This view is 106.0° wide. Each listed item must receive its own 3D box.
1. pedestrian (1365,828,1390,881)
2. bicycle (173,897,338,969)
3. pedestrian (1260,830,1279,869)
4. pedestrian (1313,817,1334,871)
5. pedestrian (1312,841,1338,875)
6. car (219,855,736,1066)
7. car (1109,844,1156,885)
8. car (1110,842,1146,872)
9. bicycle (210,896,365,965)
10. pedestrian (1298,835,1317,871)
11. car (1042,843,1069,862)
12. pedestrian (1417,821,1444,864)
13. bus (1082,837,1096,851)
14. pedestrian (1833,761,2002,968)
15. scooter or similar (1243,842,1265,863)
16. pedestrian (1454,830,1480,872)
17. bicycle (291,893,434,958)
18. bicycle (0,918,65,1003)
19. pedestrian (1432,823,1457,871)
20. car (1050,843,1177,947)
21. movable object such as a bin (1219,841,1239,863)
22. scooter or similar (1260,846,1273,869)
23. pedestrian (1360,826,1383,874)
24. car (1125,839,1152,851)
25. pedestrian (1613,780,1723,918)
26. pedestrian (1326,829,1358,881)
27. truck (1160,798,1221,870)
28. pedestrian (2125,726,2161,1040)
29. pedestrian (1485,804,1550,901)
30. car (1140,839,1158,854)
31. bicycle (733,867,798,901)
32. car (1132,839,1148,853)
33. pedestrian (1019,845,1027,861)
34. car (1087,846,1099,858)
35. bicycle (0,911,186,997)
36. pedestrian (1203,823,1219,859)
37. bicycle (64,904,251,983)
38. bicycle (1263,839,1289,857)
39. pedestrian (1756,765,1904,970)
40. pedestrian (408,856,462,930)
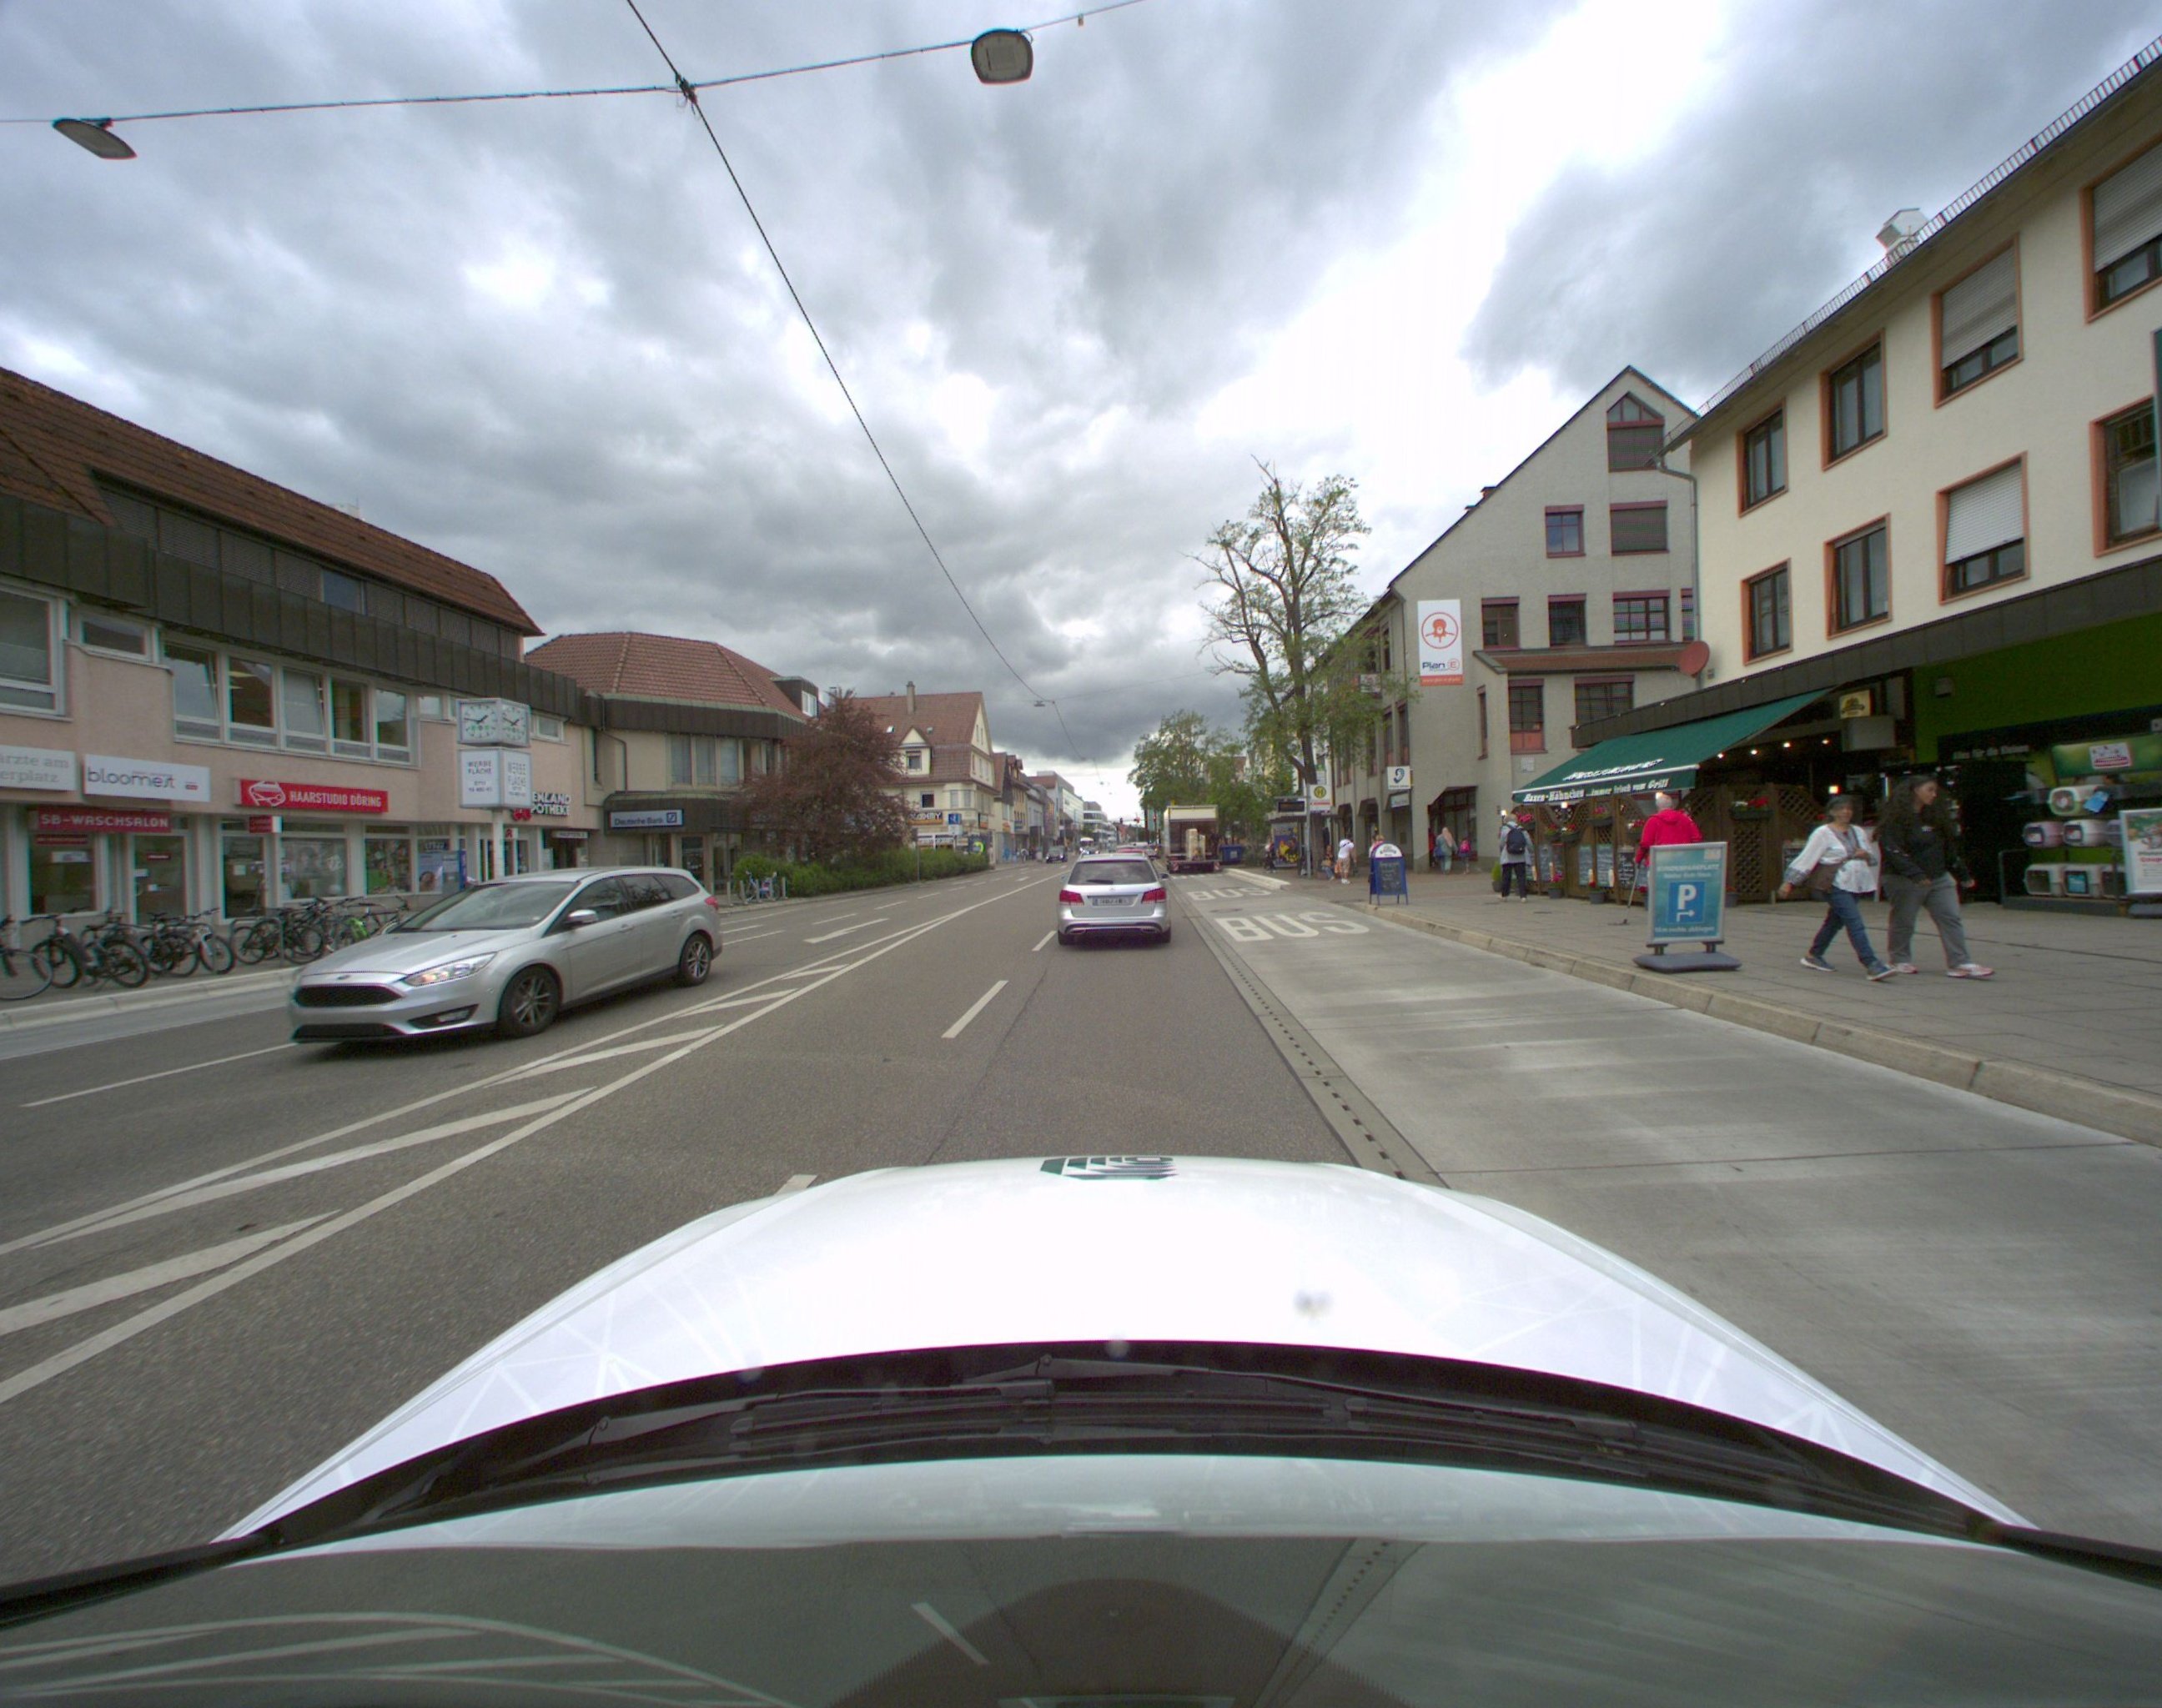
[{"bbox_3d":[8.990,0.015,24.661,0.666,1.567,0.495,0,2,24],"label":"pedestrian"},{"bbox_3d":[-14.348,1.363,14.196,2.015,1.090,0.648,-2,0,-6],"label":"bicycle"},{"bbox_3d":[8.116,-0.200,35.111,0.536,1.634,0.584,0,1,-21],"label":"pedestrian"},{"bbox_3d":[9.359,-0.379,31.403,0.608,2.047,0.590,-4,-1,17],"label":"pedestrian"},{"bbox_3d":[8.669,0.139,28.913,0.710,1.166,0.587,-2,1,-3],"label":"pedestrian"},{"bbox_3d":[-5.633,0.839,8.509,1.866,1.506,4.348,-4,0,4],"label":"car"},{"bbox_3d":[2.146,0.389,33.465,1.746,1.521,4.005,-2,0,4],"label":"car"},{"bbox_3d":[2.877,0.146,49.106,1.984,1.684,4.005,-2,1,4],"label":"car"},{"bbox_3d":[-14.479,1.378,14.900,2.015,1.090,0.648,-2,0,-6],"label":"bicycle"},{"bbox_3d":[9.041,-0.054,32.455,0.608,1.401,0.590,-4,0,17],"label":"pedestrian"},{"bbox_3d":[-2.638,-0.196,85.475,2.059,1.738,4.700,-4,1,5],"label":"car"},{"bbox_3d":[13.631,-0.454,31.734,0.724,1.634,0.614,-2,1,-5],"label":"pedestrian"},{"bbox_3d":[1.820,-2.384,188.037,2.762,3.165,5.940,-2,1,4],"label":"bus"},{"bbox_3d":[7.042,0.085,6.886,0.716,1.634,0.615,-3,0,1],"label":"pedestrian"},{"bbox_3d":[10.476,-0.097,49.380,1.174,1.196,0.459,-3,0,-6],"label":"scooter or similar"},{"bbox_3d":[13.050,-0.108,27.555,0.583,1.375,0.616,-2,1,6],"label":"pedestrian"},{"bbox_3d":[-13.861,1.362,15.757,2.015,1.090,0.648,-2,0,-6],"label":"bicycle"},{"bbox_3d":[-15.387,1.478,11.057,2.018,1.090,0.647,-2,0,-11],"label":"bicycle"},{"bbox_3d":[12.499,-0.250,28.024,0.583,1.634,0.616,-2,1,5],"label":"pedestrian"},{"bbox_3d":[0.566,0.602,14.232,1.867,1.506,4.002,-2,0,2],"label":"car"},{"bbox_3d":[9.566,-0.153,52.626,1.138,1.339,1.378,-2,0,6],"label":"movable object such as a bin"},{"bbox_3d":[7.913,0.162,34.689,0.387,0.959,0.351,-3,0,-37],"label":"scooter or similar"},{"bbox_3d":[10.042,-0.148,28.181,0.609,1.634,0.589,-1,1,8],"label":"pedestrian"},{"bbox_3d":[11.569,-1.784,163.029,5.156,1.960,1.948,-4,0,-31],"label":"car"},{"bbox_3d":[7.899,-0.059,10.995,0.793,1.742,0.781,-4,-1,-2],"label":"pedestrian"},{"bbox_3d":[8.446,0.036,26.363,0.615,1.634,0.789,-2,1,-18],"label":"pedestrian"},{"bbox_3d":[6.081,-1.083,46.525,2.677,3.561,9.777,-2,1,4],"label":"truck"},{"bbox_3d":[6.034,0.149,4.140,0.609,1.678,0.616,-3,1,6],"label":"pedestrian"},{"bbox_3d":[8.249,-0.026,15.425,0.680,1.742,0.781,-4,-1,-1],"label":"pedestrian"},{"bbox_3d":[7.875,-0.891,94.466,1.984,1.684,4.005,-2,1,4],"label":"car"},{"bbox_3d":[-11.257,1.060,29.107,2.015,1.090,0.648,-2,0,-6],"label":"bicycle"},{"bbox_3d":[7.768,-1.087,106.827,1.984,1.684,4.005,-2,1,4],"label":"car"},{"bbox_3d":[-6.076,-0.074,85.041,0.814,1.634,0.980,0,1,-2],"label":"pedestrian"},{"bbox_3d":[1.546,-0.302,103.752,1.564,1.540,2.962,0,1,2],"label":"car"},{"bbox_3d":[-14.532,1.451,11.939,2.012,1.090,0.649,-2,0,-1],"label":"bicycle"},{"bbox_3d":[6.513,-0.633,40.836,0.611,1.780,0.588,-3,-1,0],"label":"pedestrian"},{"bbox_3d":[-14.700,1.411,13.005,2.015,1.090,0.648,-2,0,-6],"label":"bicycle"},{"bbox_3d":[14.869,-0.464,62.115,1.810,1.326,0.843,-2,1,0],"label":"bicycle"},{"bbox_3d":[6.357,0.110,6.945,0.610,1.634,0.615,-3,0,1],"label":"pedestrian"},{"bbox_3d":[-16.082,0.956,20.287,0.723,1.764,0.756,1,1,1],"label":"pedestrian"}]
